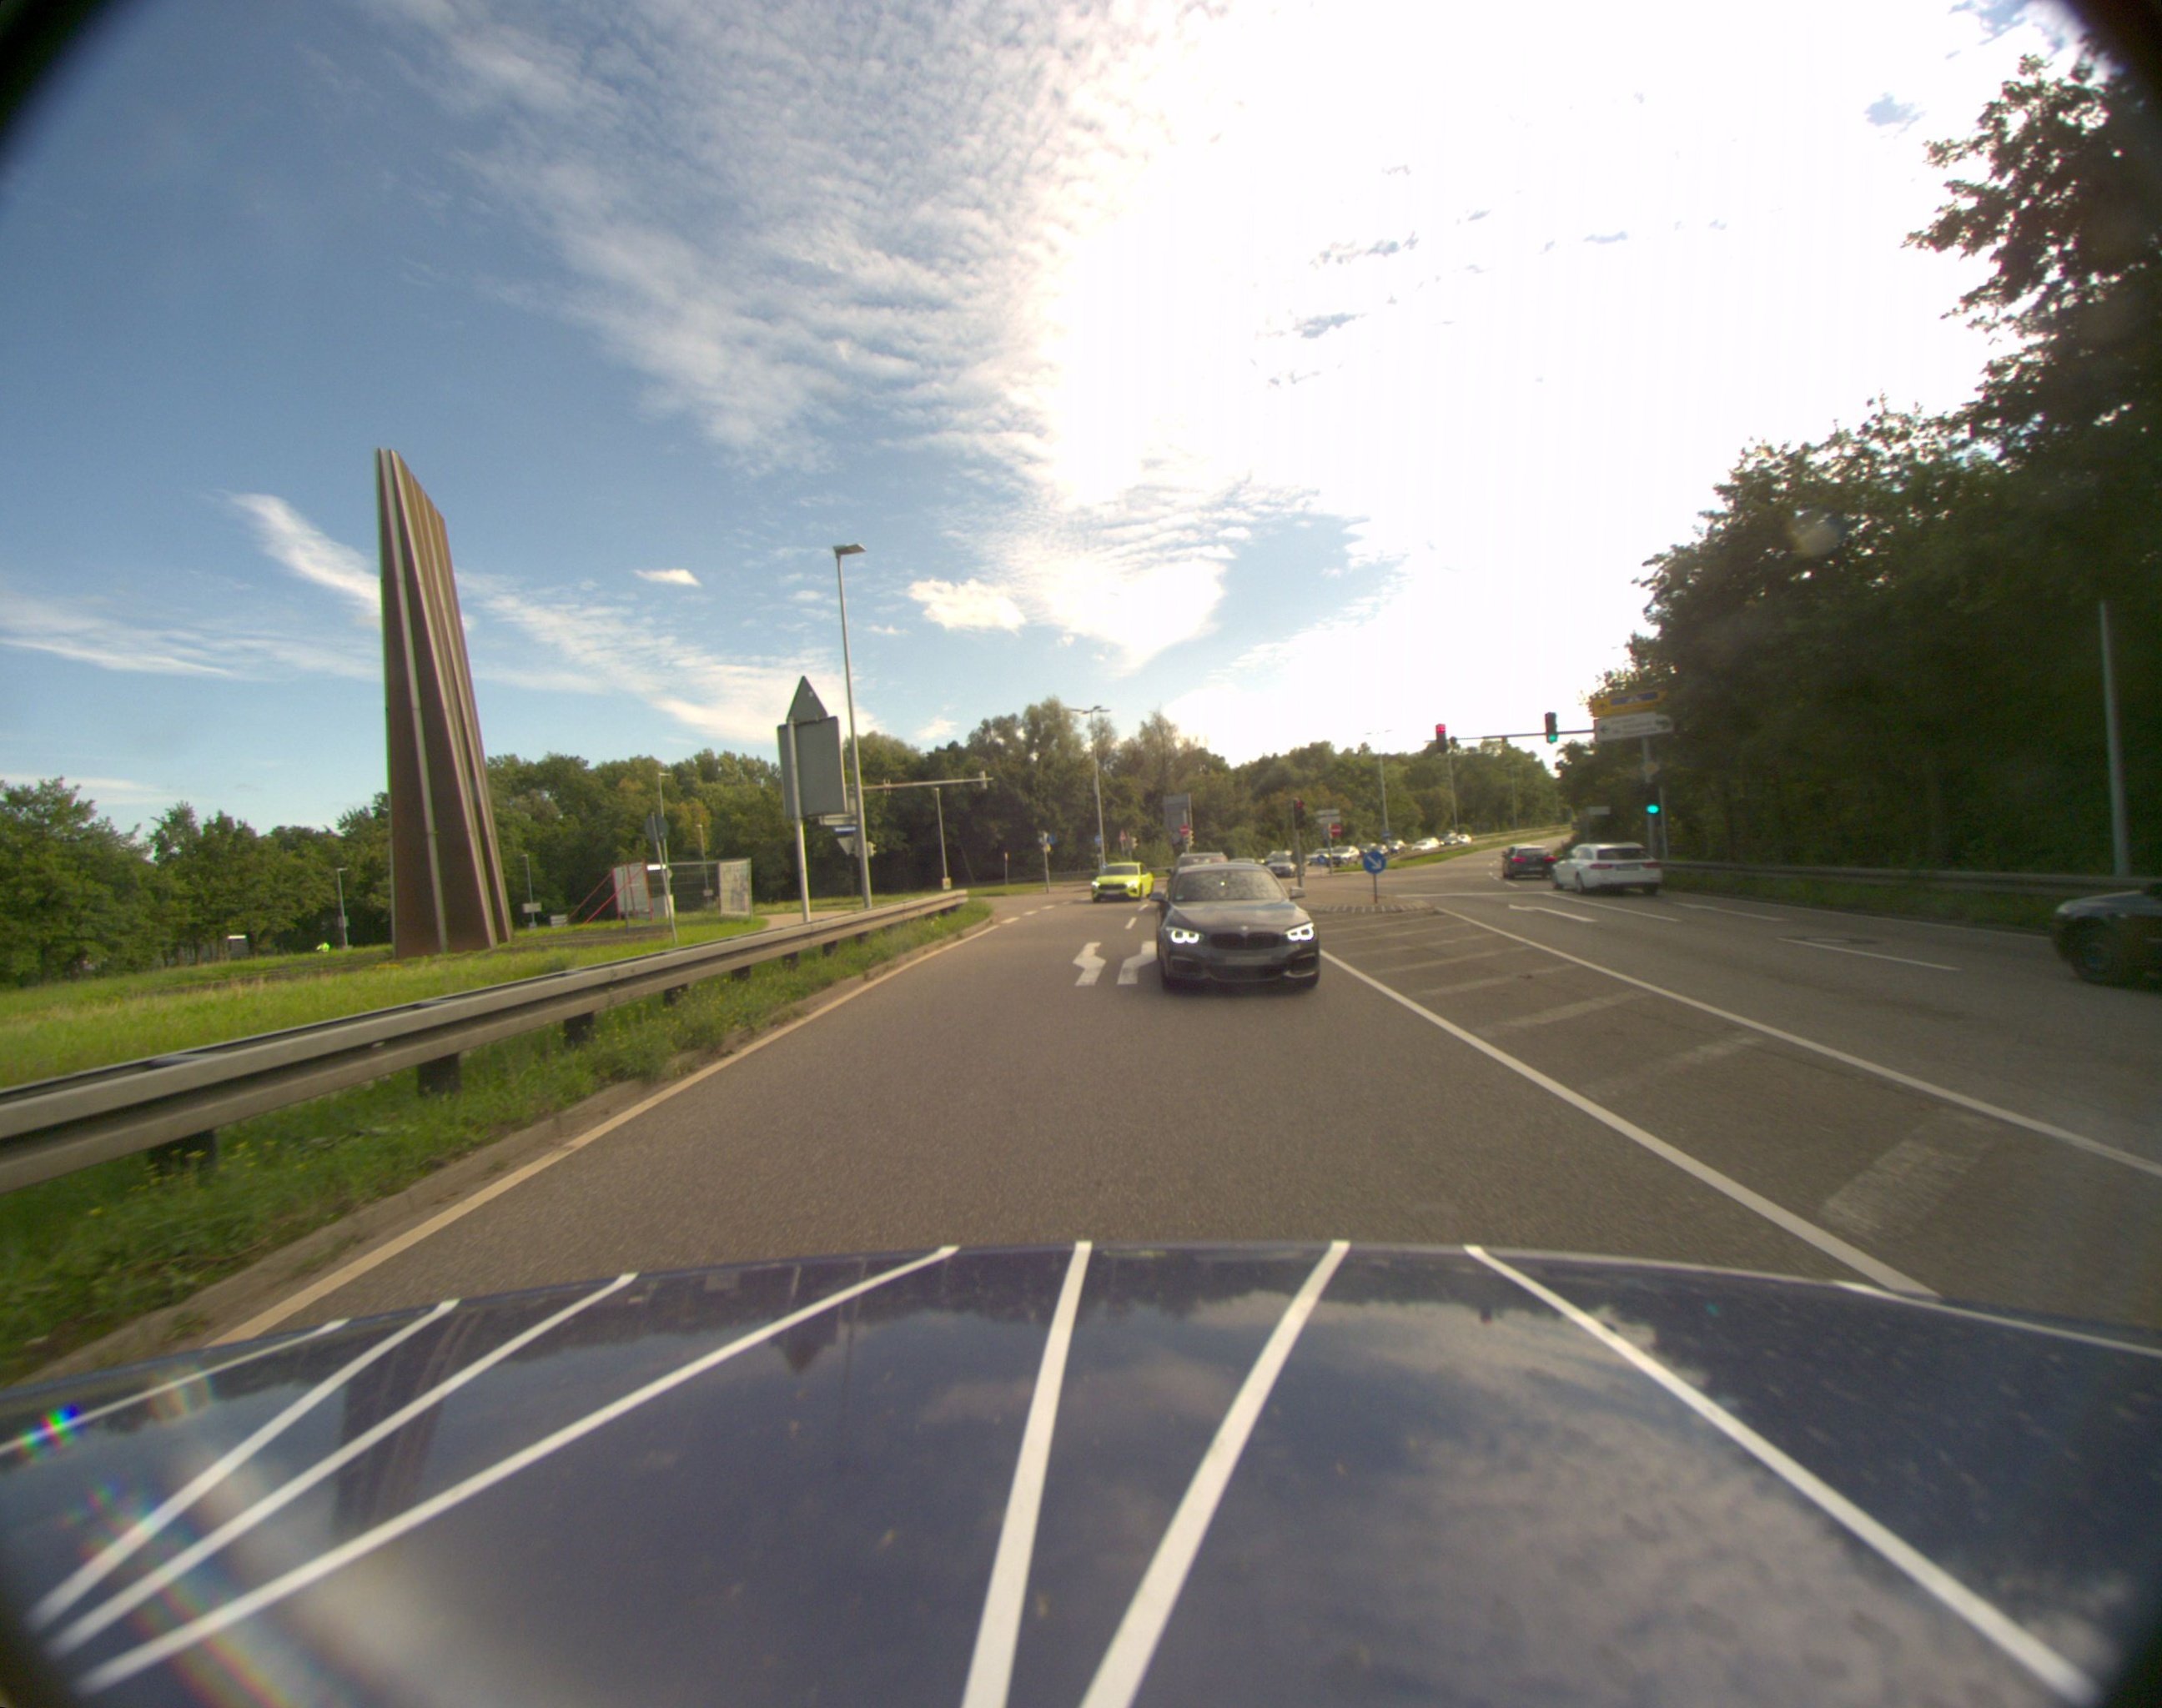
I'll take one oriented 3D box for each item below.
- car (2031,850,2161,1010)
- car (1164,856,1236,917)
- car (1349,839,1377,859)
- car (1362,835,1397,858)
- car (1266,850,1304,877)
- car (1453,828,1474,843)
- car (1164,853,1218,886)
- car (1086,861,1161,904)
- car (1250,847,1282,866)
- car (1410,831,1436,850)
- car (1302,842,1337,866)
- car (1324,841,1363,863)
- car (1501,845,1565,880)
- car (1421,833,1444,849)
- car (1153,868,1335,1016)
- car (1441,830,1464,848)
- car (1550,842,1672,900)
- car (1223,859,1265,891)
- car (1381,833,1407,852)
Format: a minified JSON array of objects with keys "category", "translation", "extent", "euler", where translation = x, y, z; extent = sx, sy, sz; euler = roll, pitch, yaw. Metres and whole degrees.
[{"category":"car","translation":[10.019,0.659,5.694],"extent":[1.627,1.357,3.777],"euler":[-2,0,14]},{"category":"car","translation":[3.559,0.872,22.123],"extent":[1.817,1.498,4.395],"euler":[-2,0,11]},{"category":"car","translation":[29.414,-0.542,79.197],"extent":[1.995,2.002,4.007],"euler":[-2,1,32]},{"category":"car","translation":[28.394,-0.715,72.227],"extent":[1.995,2.002,4.281],"euler":[-2,1,36]},{"category":"car","translation":[13.055,0.596,48.463],"extent":[1.637,1.543,3.747],"euler":[-2,0,26]},{"category":"car","translation":[54.945,-2.652,109.078],"extent":[1.994,2.002,4.008],"euler":[-2,1,37]},{"category":"car","translation":[6.076,0.815,41.577],"extent":[1.995,1.543,4.006],"euler":[-2,0,22]},{"category":"car","translation":[1.709,1.032,28.866],"extent":[1.816,1.396,4.396],"euler":[-2,0,16]},{"category":"car","translation":[14.654,0.193,59.917],"extent":[1.637,1.396,3.747],"euler":[-2,0,26]},{"category":"car","translation":[38.149,-1.483,84.694],"extent":[1.995,2.002,4.007],"euler":[-2,1,33]},{"category":"car","translation":[21.309,0.002,67.826],"extent":[1.995,2.002,4.007],"euler":[-2,1,32]},{"category":"car","translation":[21.575,-0.200,62.316],"extent":[1.995,1.591,4.289],"euler":[-2,0,32]},{"category":"car","translation":[19.490,0.332,32.949],"extent":[1.816,1.396,4.398],"euler":[-2,0,23]},{"category":"car","translation":[46.605,-1.754,100.769],"extent":[1.995,2.002,4.007],"euler":[-2,1,35]},{"category":"car","translation":[1.855,0.943,9.779],"extent":[1.785,1.396,3.972],"euler":[-2,0,5]},{"category":"car","translation":[45.499,-1.839,93.040],"extent":[1.995,2.002,4.007],"euler":[-2,1,33]},{"category":"car","translation":[15.552,0.444,22.607],"extent":[1.816,1.511,4.833],"euler":[-2,0,21]},{"category":"car","translation":[7.659,0.962,36.015],"extent":[1.689,1.315,3.787],"euler":[-2,0,9]},{"category":"car","translation":[36.003,-1.322,87.316],"extent":[1.995,2.002,4.007],"euler":[-2,1,32]}]
